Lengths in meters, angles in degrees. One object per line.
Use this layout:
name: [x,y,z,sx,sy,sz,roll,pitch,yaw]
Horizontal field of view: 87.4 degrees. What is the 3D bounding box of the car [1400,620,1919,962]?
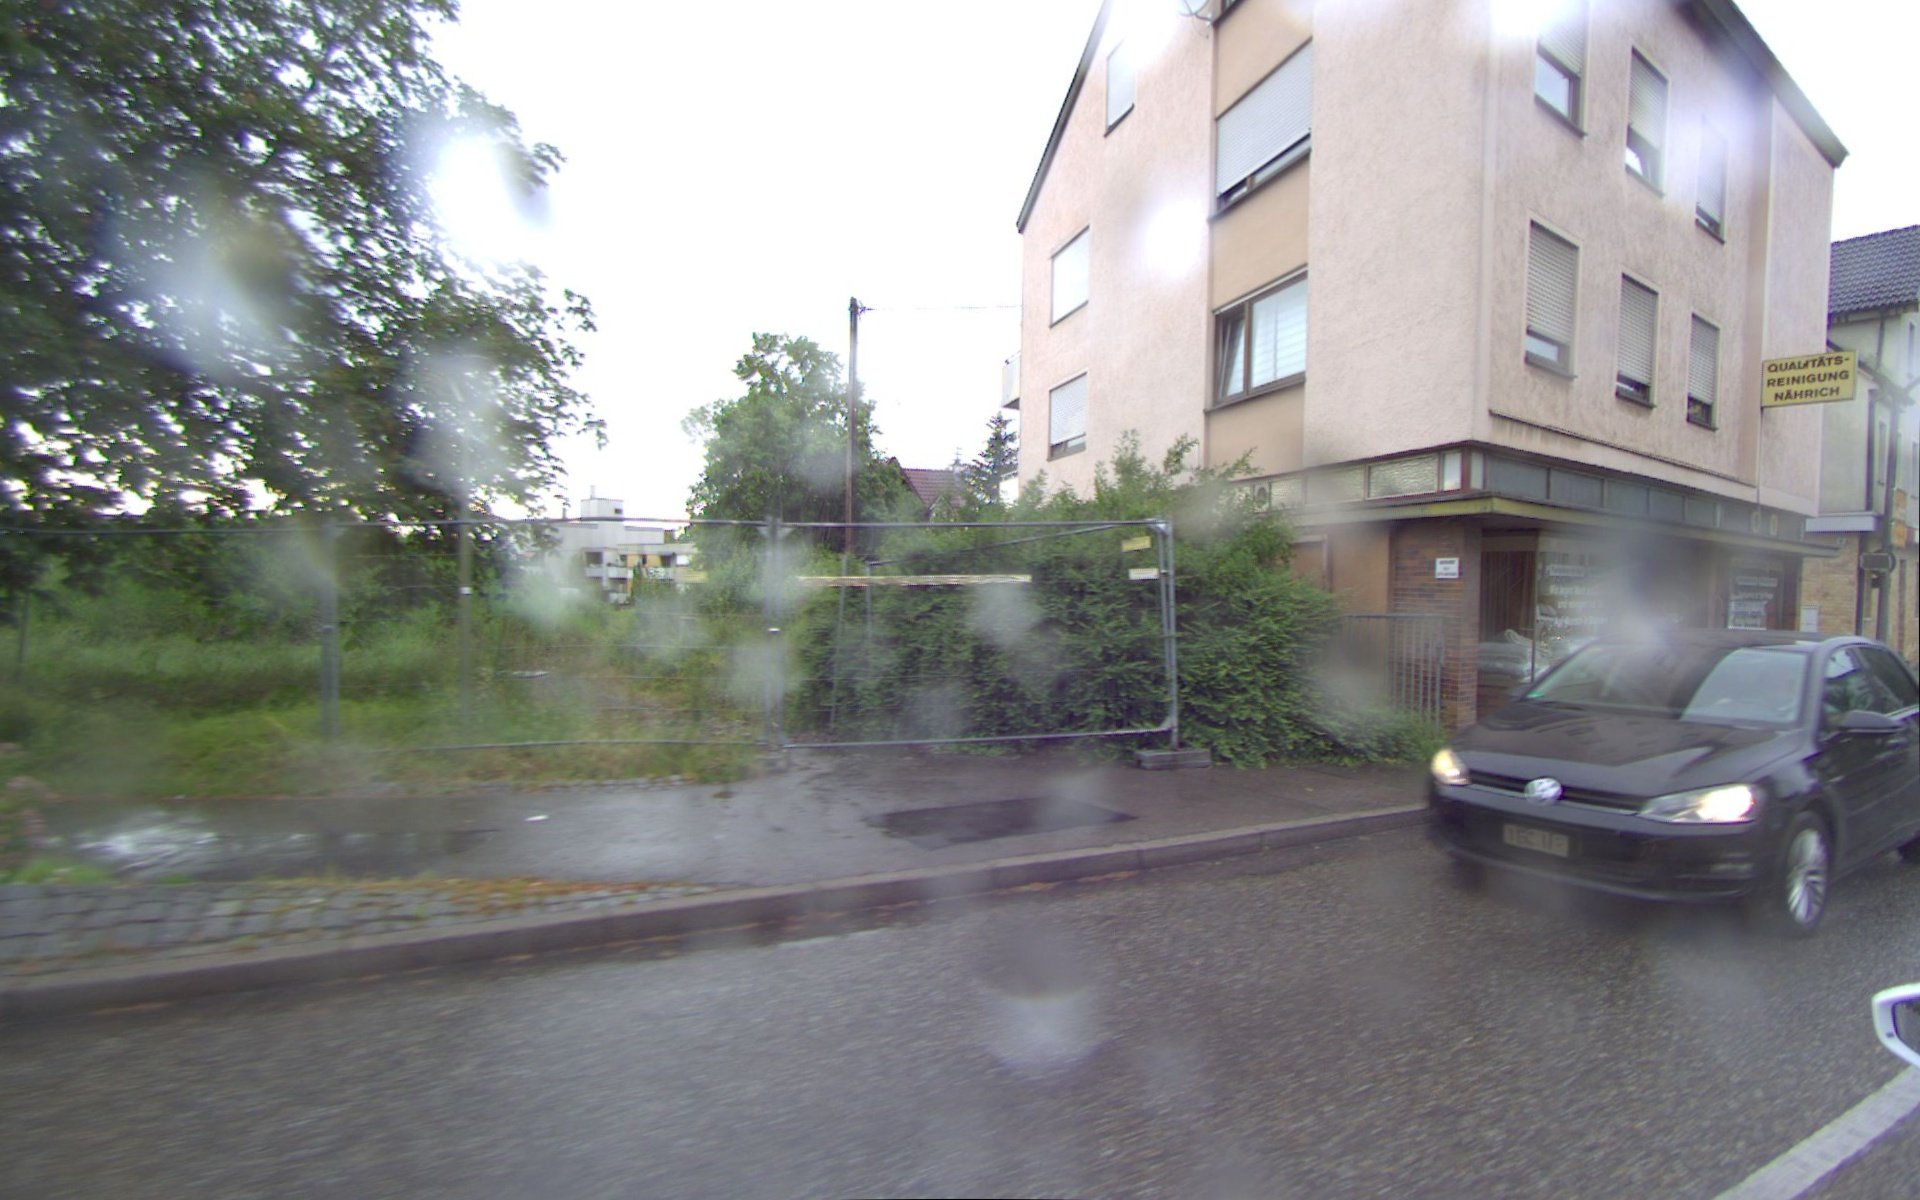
car: [4.606,0.881,6.131,3.880,1.420,1.759,2,-1,-35]
